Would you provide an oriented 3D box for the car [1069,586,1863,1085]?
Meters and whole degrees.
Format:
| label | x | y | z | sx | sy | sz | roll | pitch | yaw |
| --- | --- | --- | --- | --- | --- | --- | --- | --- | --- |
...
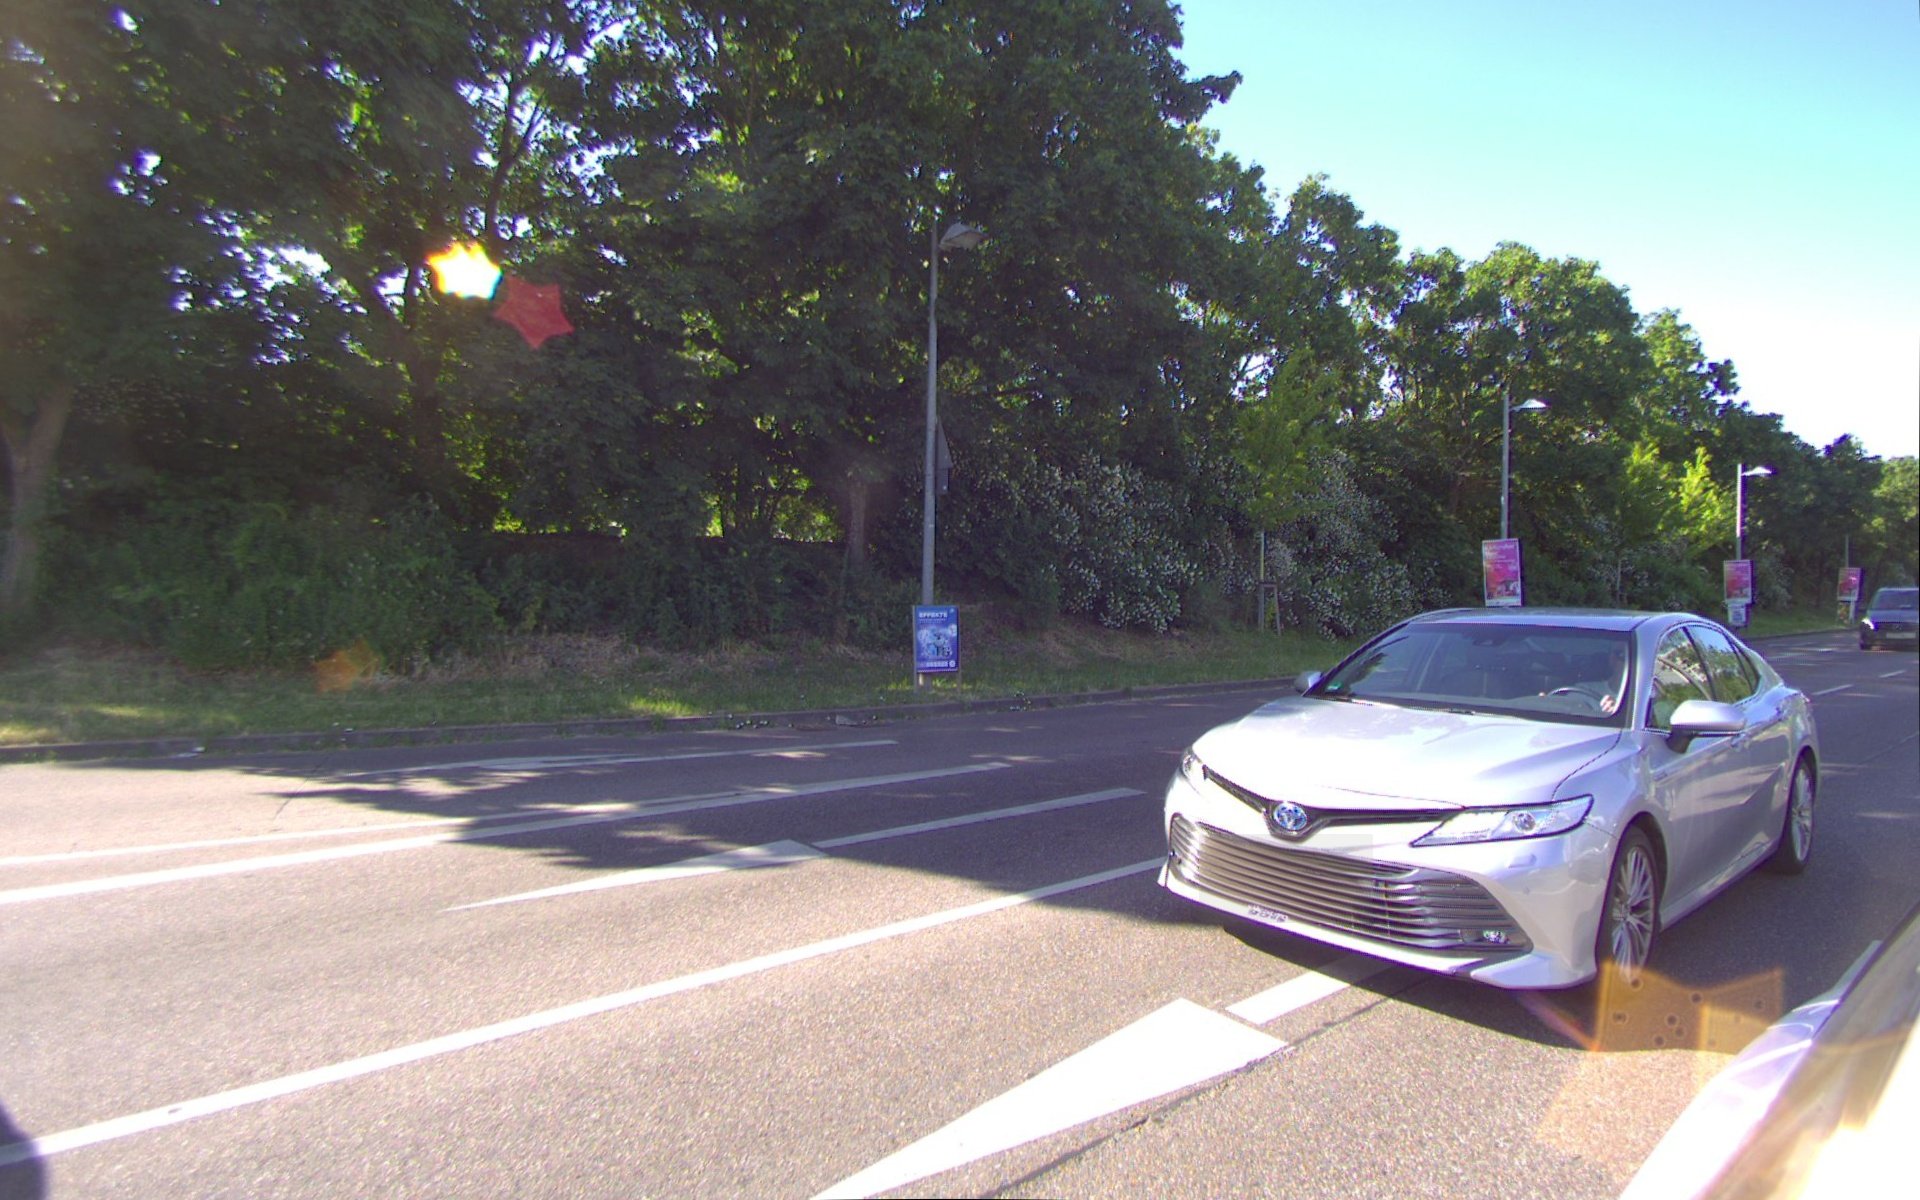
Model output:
| label | x | y | z | sx | sy | sz | roll | pitch | yaw |
| --- | --- | --- | --- | --- | --- | --- | --- | --- | --- |
| car | 2.953 | 0.695 | 5.363 | 4.664 | 1.477 | 2.069 | 0 | 2 | -40 |

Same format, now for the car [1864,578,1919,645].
| label | x | y | z | sx | sy | sz | roll | pitch | yaw |
| --- | --- | --- | --- | --- | --- | --- | --- | --- | --- |
| car | 29.147 | 0.320 | 30.594 | 5.056 | 1.917 | 1.998 | 0 | 1 | -40 |
